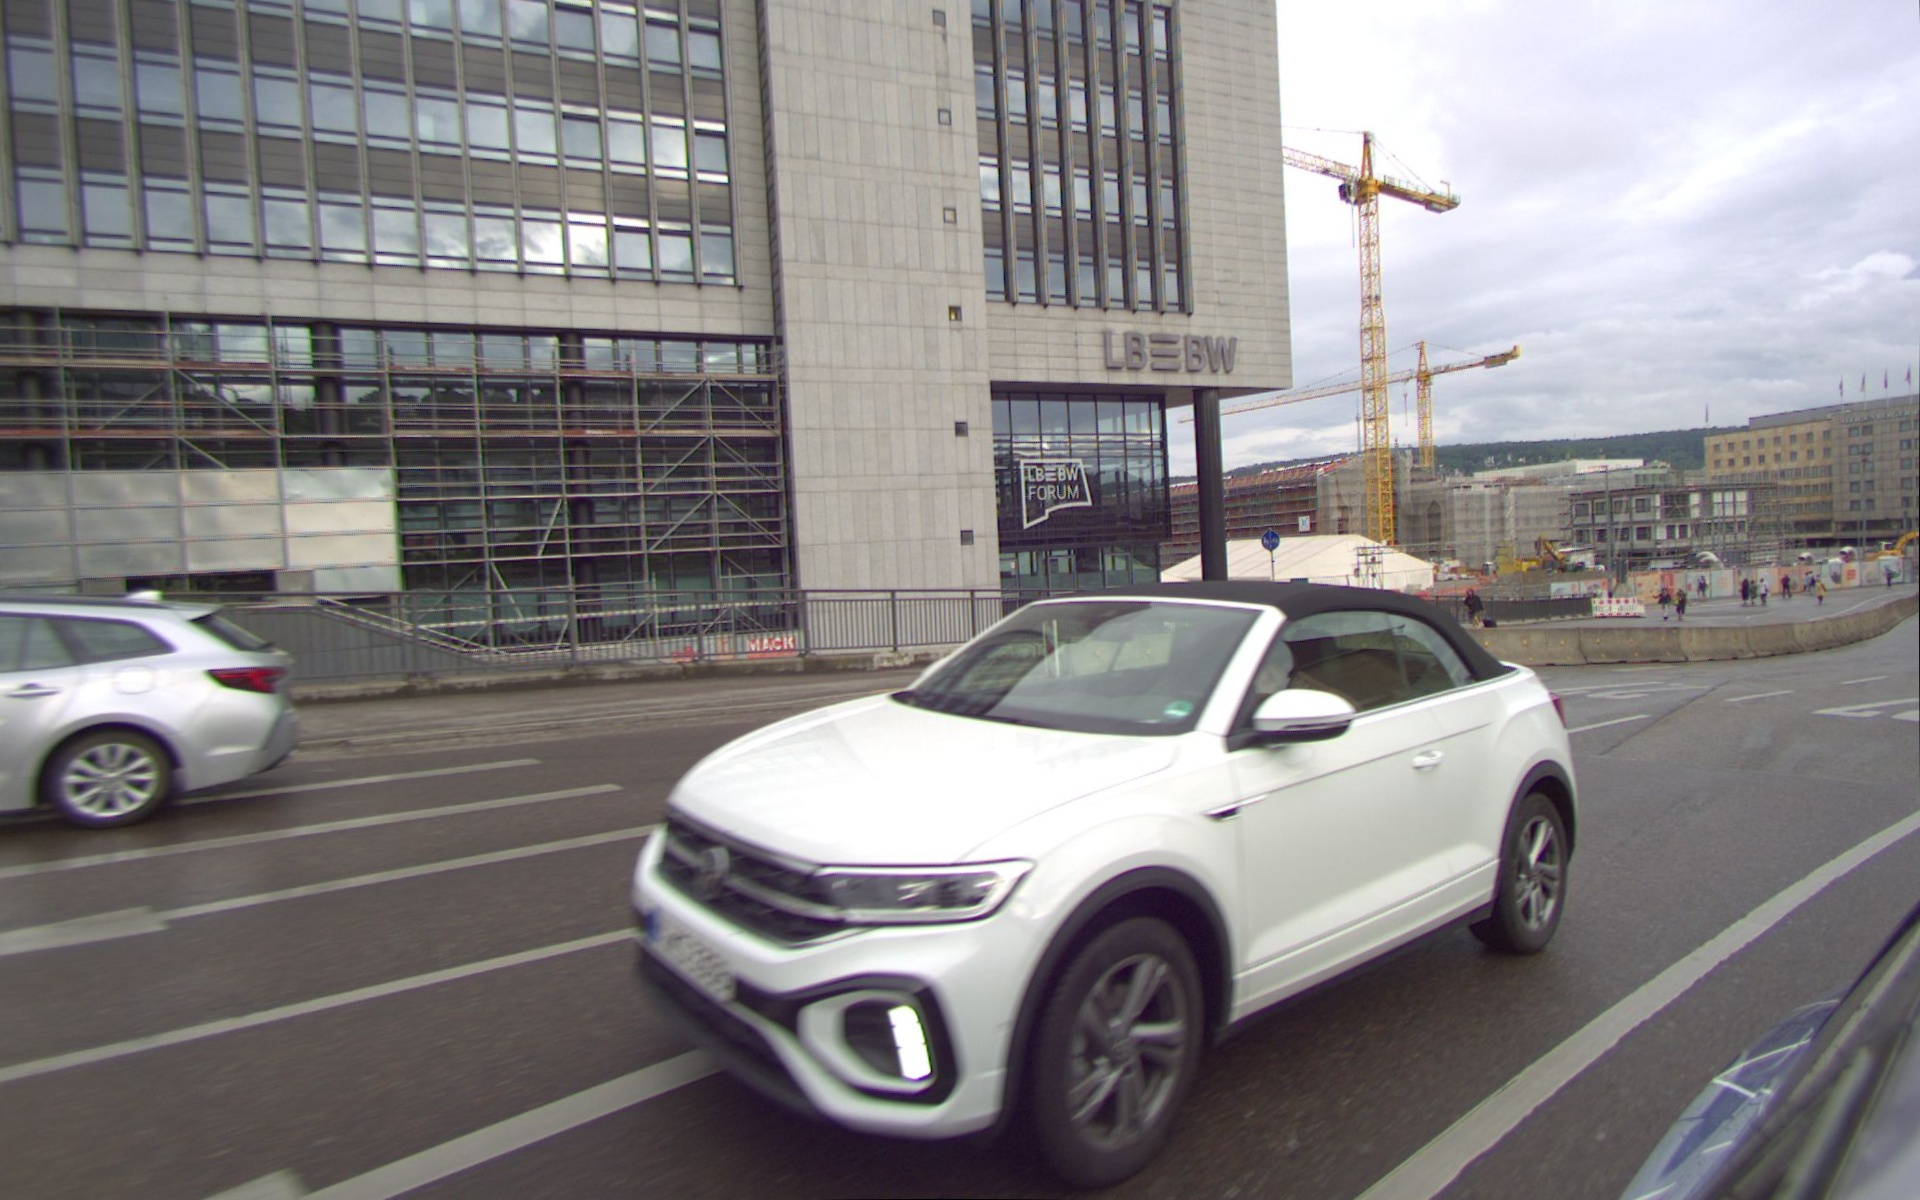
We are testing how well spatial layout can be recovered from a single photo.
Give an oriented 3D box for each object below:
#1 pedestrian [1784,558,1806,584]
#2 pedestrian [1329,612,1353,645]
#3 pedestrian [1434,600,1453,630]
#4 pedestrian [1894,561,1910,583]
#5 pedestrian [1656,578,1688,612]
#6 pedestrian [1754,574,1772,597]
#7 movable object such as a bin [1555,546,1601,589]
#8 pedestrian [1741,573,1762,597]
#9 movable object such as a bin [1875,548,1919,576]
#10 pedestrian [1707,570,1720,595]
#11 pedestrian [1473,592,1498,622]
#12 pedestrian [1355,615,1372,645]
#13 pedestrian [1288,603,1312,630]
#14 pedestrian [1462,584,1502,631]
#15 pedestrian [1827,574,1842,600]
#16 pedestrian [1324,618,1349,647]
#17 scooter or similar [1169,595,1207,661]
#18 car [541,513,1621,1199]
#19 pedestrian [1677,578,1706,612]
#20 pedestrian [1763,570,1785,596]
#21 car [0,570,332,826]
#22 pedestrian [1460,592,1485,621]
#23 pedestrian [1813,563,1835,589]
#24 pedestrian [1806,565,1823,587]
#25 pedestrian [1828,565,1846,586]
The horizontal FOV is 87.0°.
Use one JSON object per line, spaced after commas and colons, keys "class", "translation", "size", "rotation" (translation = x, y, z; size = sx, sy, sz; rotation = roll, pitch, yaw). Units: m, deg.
{"class": "pedestrian", "translation": [60.135, -2.067, 72.885], "size": [0.987, 1.840, 0.870], "rotation": [-3, 1, -24]}
{"class": "pedestrian", "translation": [22.034, 1.656, 58.520], "size": [0.987, 1.805, 0.775], "rotation": [-3, 1, -15]}
{"class": "pedestrian", "translation": [27.366, 0.834, 57.261], "size": [0.739, 1.657, 0.587], "rotation": [-2, 1, 5]}
{"class": "pedestrian", "translation": [75.280, -2.269, 80.885], "size": [0.673, 1.726, 0.748], "rotation": [-3, 3, -30]}
{"class": "pedestrian", "translation": [35.124, -0.248, 49.918], "size": [0.932, 1.613, 0.865], "rotation": [-3, 1, -16]}
{"class": "pedestrian", "translation": [54.196, -0.985, 68.315], "size": [0.867, 1.541, 0.612], "rotation": [-3, 1, -24]}
{"class": "movable object such as a bin", "translation": [52.606, -2.763, 86.134], "size": [4.154, 3.451, 1.942], "rotation": [-3, 2, -37]}
{"class": "pedestrian", "translation": [53.912, -1.012, 68.961], "size": [0.987, 1.572, 0.718], "rotation": [-3, 1, -24]}
{"class": "movable object such as a bin", "translation": [91.044, -3.678, 97.305], "size": [4.064, 2.566, 1.994], "rotation": [-2, 1, 12]}
{"class": "pedestrian", "translation": [54.675, -1.268, 73.431], "size": [0.485, 1.769, 0.569], "rotation": [-3, 1, -26]}
{"class": "pedestrian", "translation": [32.059, 0.419, 61.755], "size": [0.987, 1.747, 0.871], "rotation": [-3, 1, -15]}
{"class": "pedestrian", "translation": [23.043, 1.725, 57.777], "size": [0.554, 1.635, 0.707], "rotation": [-2, 1, -11]}
{"class": "pedestrian", "translation": [20.620, 0.981, 61.417], "size": [0.987, 1.572, 0.871], "rotation": [-3, 1, -15]}
{"class": "pedestrian", "translation": [18.933, 0.253, 36.682], "size": [1.038, 1.672, 0.733], "rotation": [-2, 1, -16]}
{"class": "pedestrian", "translation": [57.220, -0.845, 66.234], "size": [0.893, 1.653, 0.647], "rotation": [-3, 2, -44]}
{"class": "pedestrian", "translation": [22.161, 1.906, 59.552], "size": [0.987, 1.657, 0.871], "rotation": [-3, 1, -15]}
{"class": "scooter or similar", "translation": [4.199, 0.510, 18.656], "size": [0.561, 1.177, 0.350], "rotation": [-2, 1, -29]}
{"class": "car", "translation": [0.779, 0.596, 4.024], "size": [4.143, 1.568, 1.968], "rotation": [-1, 0, -40]}
{"class": "pedestrian", "translation": [35.553, -0.244, 49.186], "size": [0.788, 1.594, 0.735], "rotation": [-3, 0, -16]}
{"class": "pedestrian", "translation": [54.704, -1.132, 68.019], "size": [0.873, 1.744, 0.781], "rotation": [-3, 1, -24]}
{"class": "car", "translation": [-6.592, 0.607, 6.223], "size": [4.529, 1.469, 1.706], "rotation": [-2, 1, -35]}
{"class": "pedestrian", "translation": [31.835, 0.415, 62.840], "size": [0.987, 1.710, 0.871], "rotation": [-3, 1, -15]}
{"class": "pedestrian", "translation": [64.330, -1.790, 75.387], "size": [0.913, 1.871, 0.822], "rotation": [-2, 1, -7]}
{"class": "pedestrian", "translation": [65.193, -1.852, 77.209], "size": [0.750, 1.675, 0.650], "rotation": [-2, 1, -7]}
{"class": "pedestrian", "translation": [66.138, -1.832, 76.293], "size": [0.750, 1.572, 0.650], "rotation": [-2, 1, -7]}
